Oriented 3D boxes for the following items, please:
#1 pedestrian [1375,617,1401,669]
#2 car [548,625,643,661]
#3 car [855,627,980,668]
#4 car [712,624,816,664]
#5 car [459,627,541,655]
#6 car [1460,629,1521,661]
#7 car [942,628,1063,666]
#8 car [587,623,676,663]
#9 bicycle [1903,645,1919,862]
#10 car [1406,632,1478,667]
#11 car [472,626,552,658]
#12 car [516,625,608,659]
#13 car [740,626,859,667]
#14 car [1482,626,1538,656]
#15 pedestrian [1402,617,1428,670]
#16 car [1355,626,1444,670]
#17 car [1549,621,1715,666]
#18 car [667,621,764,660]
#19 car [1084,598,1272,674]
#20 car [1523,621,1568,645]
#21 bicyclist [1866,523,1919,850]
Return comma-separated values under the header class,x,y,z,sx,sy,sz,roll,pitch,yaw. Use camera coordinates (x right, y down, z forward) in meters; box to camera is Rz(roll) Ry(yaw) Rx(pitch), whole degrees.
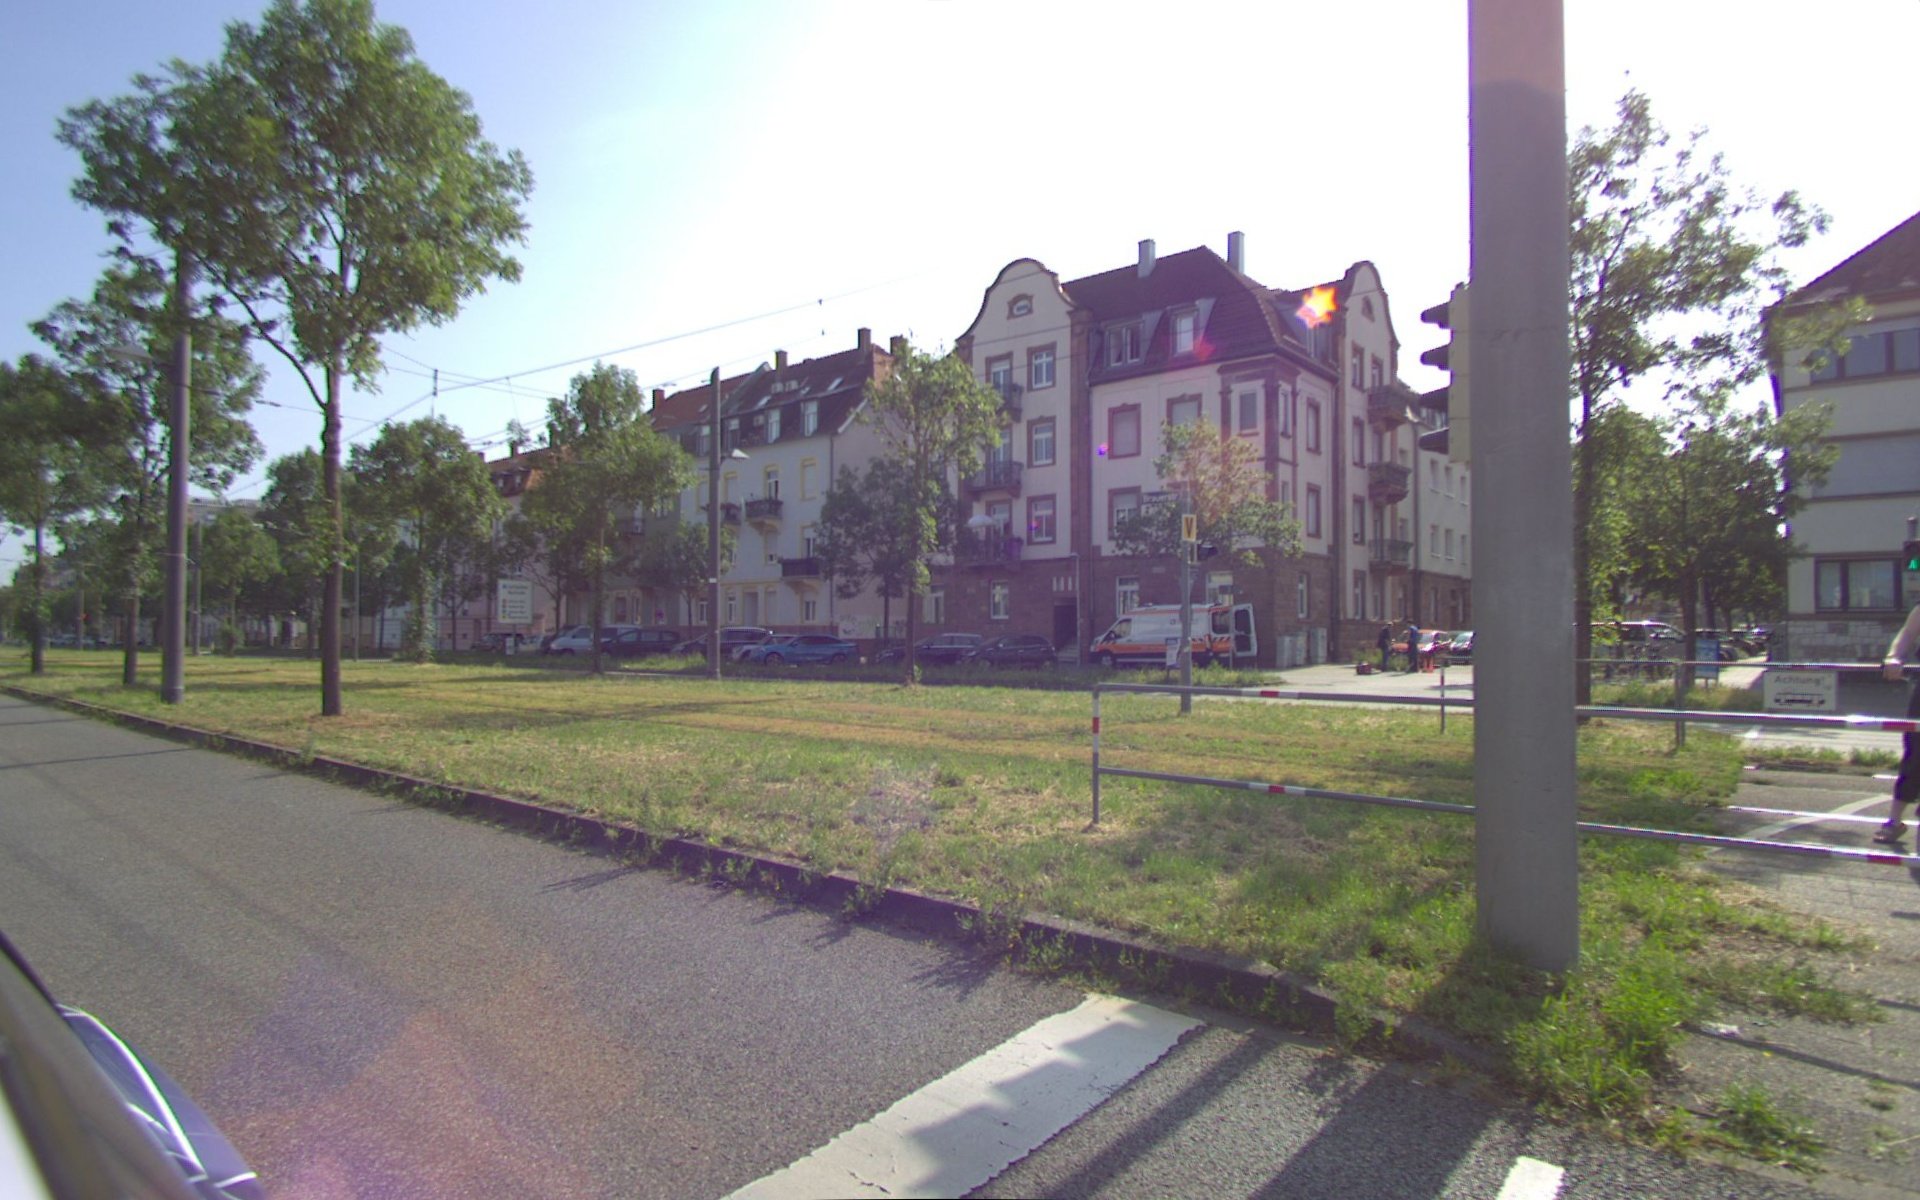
class,x,y,z,sx,sy,sz,roll,pitch,yaw
pedestrian,14.727,1.469,34.790,0.632,1.761,0.661,-1,0,41
car,-18.484,2.139,51.406,4.423,1.617,2.006,-1,0,-21
car,-1.621,1.751,38.156,4.269,1.336,2.006,-1,0,-18
car,-8.339,1.855,43.008,4.121,1.514,1.947,-1,0,-17
car,-28.128,2.506,62.063,4.423,1.502,2.006,-1,0,-21
car,25.777,2.164,49.150,1.735,1.388,3.696,-1,0,43
car,1.447,1.584,34.946,3.784,1.136,1.774,-1,0,-18
car,-15.601,2.004,48.023,3.931,1.719,1.881,-1,0,-21
bicycle,5.995,0.828,5.676,1.723,1.154,0.578,1,-2,-32
car,20.911,2.100,43.860,1.735,1.295,3.842,-1,0,43
car,-25.654,2.376,57.979,4.076,1.670,2.007,-1,0,-25
car,-21.012,2.195,53.541,4.423,1.571,2.006,-1,0,-21
car,-6.505,1.848,40.894,4.438,1.451,2.006,-1,0,-18
car,28.796,2.124,52.923,1.735,1.388,3.696,-1,0,43
pedestrian,15.356,1.461,34.158,0.632,1.761,0.661,-1,0,41
car,17.155,1.829,39.438,2.000,1.475,3.944,-1,0,43
car,23.119,1.500,34.940,4.447,1.481,1.604,0,-2,10
car,-10.869,1.784,44.895,3.994,1.566,1.922,-1,0,-19
car,8.006,1.279,37.676,6.501,2.583,2.325,-1,0,39
car,36.393,2.022,62.895,1.734,1.388,3.698,-1,0,41
bicyclist,5.884,0.481,5.701,0.856,1.836,0.911,1,-2,-31
